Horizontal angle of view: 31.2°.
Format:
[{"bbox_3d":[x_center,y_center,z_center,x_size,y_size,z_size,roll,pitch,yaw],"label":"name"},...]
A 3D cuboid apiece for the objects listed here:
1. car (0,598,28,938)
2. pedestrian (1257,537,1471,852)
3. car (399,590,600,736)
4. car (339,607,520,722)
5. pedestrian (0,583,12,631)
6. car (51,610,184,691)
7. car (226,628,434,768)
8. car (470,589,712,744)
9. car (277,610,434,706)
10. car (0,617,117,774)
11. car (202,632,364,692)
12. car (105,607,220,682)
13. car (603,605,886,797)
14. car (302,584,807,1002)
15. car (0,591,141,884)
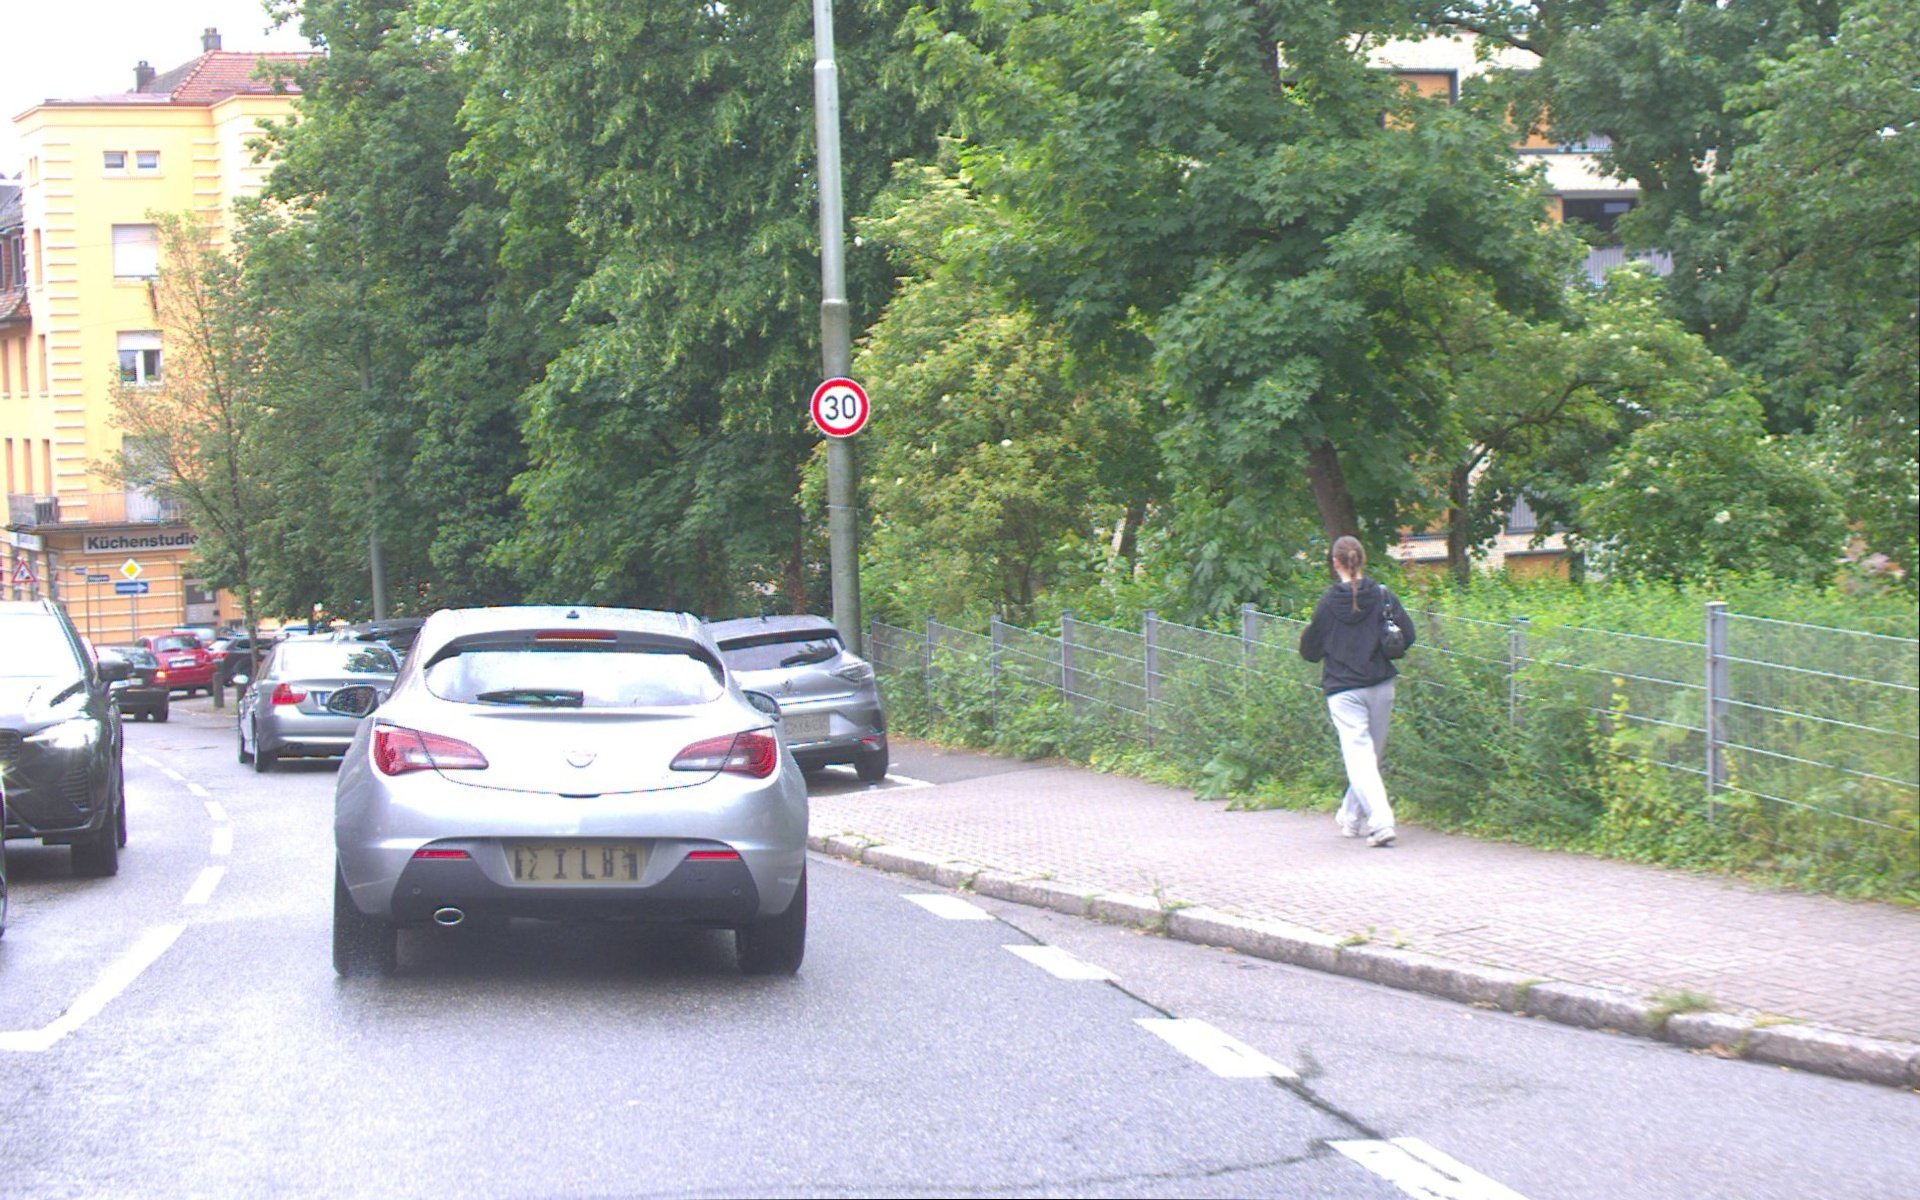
[{"bbox_3d":[-4.811,0.738,13.547,1.814,1.425,4.001,-3,0,-10],"label":"car"},{"bbox_3d":[2.169,0.495,18.564,0.765,1.600,0.966,-4,1,-12],"label":"pedestrian"},{"bbox_3d":[-6.080,0.783,44.946,1.821,1.677,4.805,-4,1,-16],"label":"car"},{"bbox_3d":[-8.508,1.030,54.862,1.975,1.603,4.486,-5,0,-19],"label":"car"},{"bbox_3d":[-30.657,0.218,109.885,0.613,1.491,0.553,-2,3,-21],"label":"pedestrian"},{"bbox_3d":[-15.537,0.914,63.278,1.767,1.410,3.717,0,0,-24],"label":"car"},{"bbox_3d":[-6.913,1.051,37.477,1.775,1.425,3.786,-1,-1,-17],"label":"car"},{"bbox_3d":[-4.337,0.778,39.875,1.815,1.490,4.001,-8,1,-18],"label":"car"},{"bbox_3d":[-10.591,1.017,60.016,1.975,1.447,4.115,-5,0,-19],"label":"car"},{"bbox_3d":[-9.963,0.990,37.034,1.654,1.563,4.001,-2,0,-14],"label":"car"},{"bbox_3d":[-17.473,1.614,88.723,3.772,1.425,1.782,2,-3,-24],"label":"car"},{"bbox_3d":[-18.132,1.015,78.071,1.815,1.462,4.001,-7,1,-22],"label":"car"},{"bbox_3d":[-1.916,0.825,29.438,1.649,1.400,3.814,-5,1,-14],"label":"car"},{"bbox_3d":[-1.783,0.694,14.631,1.814,1.425,4.001,-1,1,-9],"label":"car"},{"bbox_3d":[-5.974,0.776,20.883,1.874,1.569,4.587,-2,0,-13],"label":"car"}]
